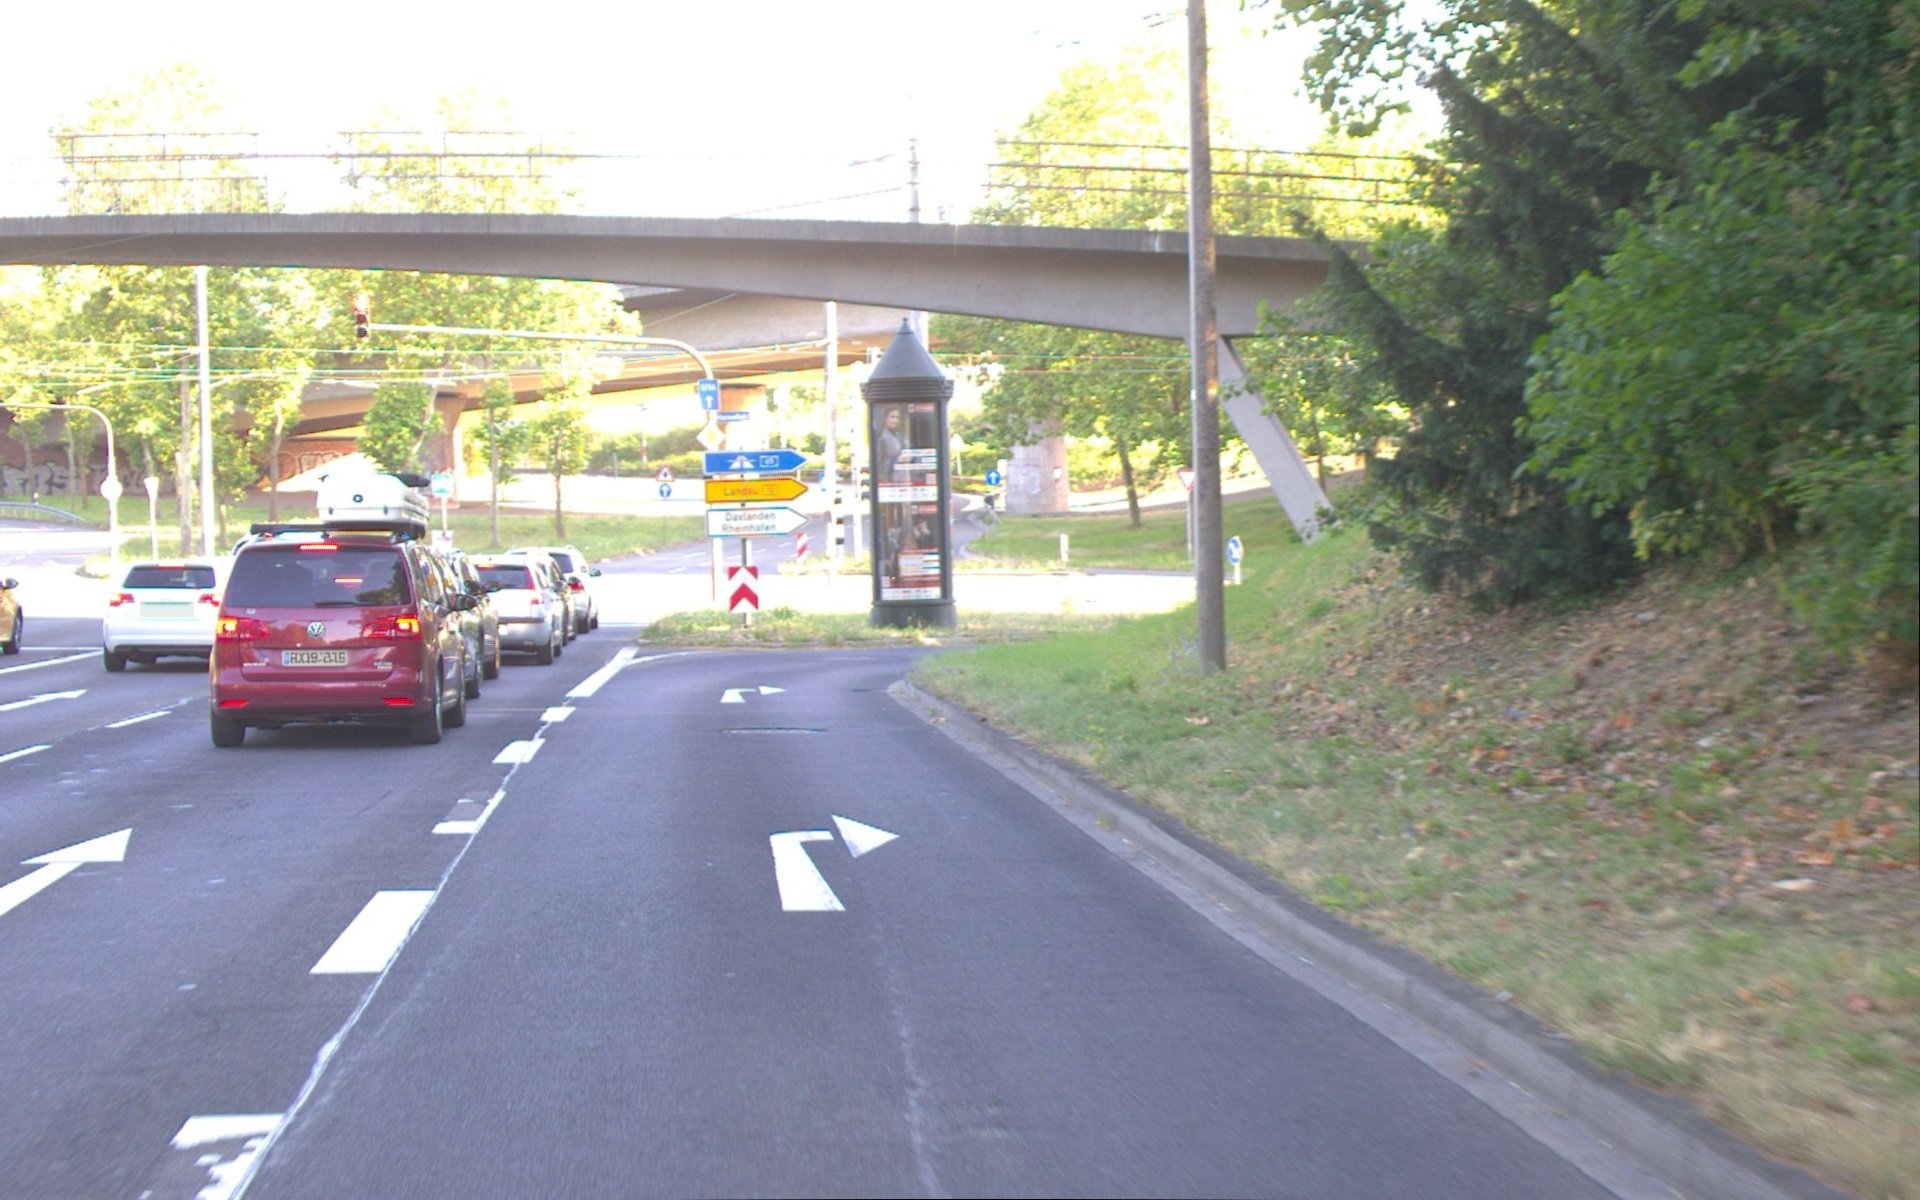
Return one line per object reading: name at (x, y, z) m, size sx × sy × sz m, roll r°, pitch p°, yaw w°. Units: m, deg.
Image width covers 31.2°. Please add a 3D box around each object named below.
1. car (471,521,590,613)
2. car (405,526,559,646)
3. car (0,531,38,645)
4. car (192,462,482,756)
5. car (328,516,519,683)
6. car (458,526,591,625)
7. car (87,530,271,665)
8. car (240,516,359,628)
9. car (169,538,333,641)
car at (-7.525, -0.611, 60.517) m, size 1.792 × 1.437 × 4.001 m, roll -3°, pitch 2°, yaw -4°
car at (-6.598, -0.234, 47.830) m, size 1.792 × 1.476 × 4.001 m, roll -3°, pitch 2°, yaw -4°
car at (-14.199, -0.133, 48.203) m, size 1.662 × 1.560 × 4.001 m, roll -3°, pitch 2°, yaw -4°
car at (-4.907, 0.008, 27.564) m, size 1.792 × 2.098 × 4.001 m, roll -3°, pitch 2°, yaw -5°
car at (-6.208, -0.055, 40.140) m, size 1.792 × 1.744 × 4.001 m, roll -3°, pitch 2°, yaw -4°
car at (-6.826, -0.422, 54.230) m, size 1.792 × 1.378 × 4.477 m, roll -3°, pitch 2°, yaw -4°
car at (-10.196, -0.072, 45.153) m, size 1.662 × 1.560 × 4.191 m, roll -3°, pitch 2°, yaw -4°
car at (-11.528, -0.538, 60.197) m, size 1.792 × 1.786 × 4.828 m, roll -3°, pitch 2°, yaw -9°
car at (-10.681, -0.191, 52.039) m, size 1.741 × 1.427 × 4.412 m, roll 0°, pitch 2°, yaw -2°
